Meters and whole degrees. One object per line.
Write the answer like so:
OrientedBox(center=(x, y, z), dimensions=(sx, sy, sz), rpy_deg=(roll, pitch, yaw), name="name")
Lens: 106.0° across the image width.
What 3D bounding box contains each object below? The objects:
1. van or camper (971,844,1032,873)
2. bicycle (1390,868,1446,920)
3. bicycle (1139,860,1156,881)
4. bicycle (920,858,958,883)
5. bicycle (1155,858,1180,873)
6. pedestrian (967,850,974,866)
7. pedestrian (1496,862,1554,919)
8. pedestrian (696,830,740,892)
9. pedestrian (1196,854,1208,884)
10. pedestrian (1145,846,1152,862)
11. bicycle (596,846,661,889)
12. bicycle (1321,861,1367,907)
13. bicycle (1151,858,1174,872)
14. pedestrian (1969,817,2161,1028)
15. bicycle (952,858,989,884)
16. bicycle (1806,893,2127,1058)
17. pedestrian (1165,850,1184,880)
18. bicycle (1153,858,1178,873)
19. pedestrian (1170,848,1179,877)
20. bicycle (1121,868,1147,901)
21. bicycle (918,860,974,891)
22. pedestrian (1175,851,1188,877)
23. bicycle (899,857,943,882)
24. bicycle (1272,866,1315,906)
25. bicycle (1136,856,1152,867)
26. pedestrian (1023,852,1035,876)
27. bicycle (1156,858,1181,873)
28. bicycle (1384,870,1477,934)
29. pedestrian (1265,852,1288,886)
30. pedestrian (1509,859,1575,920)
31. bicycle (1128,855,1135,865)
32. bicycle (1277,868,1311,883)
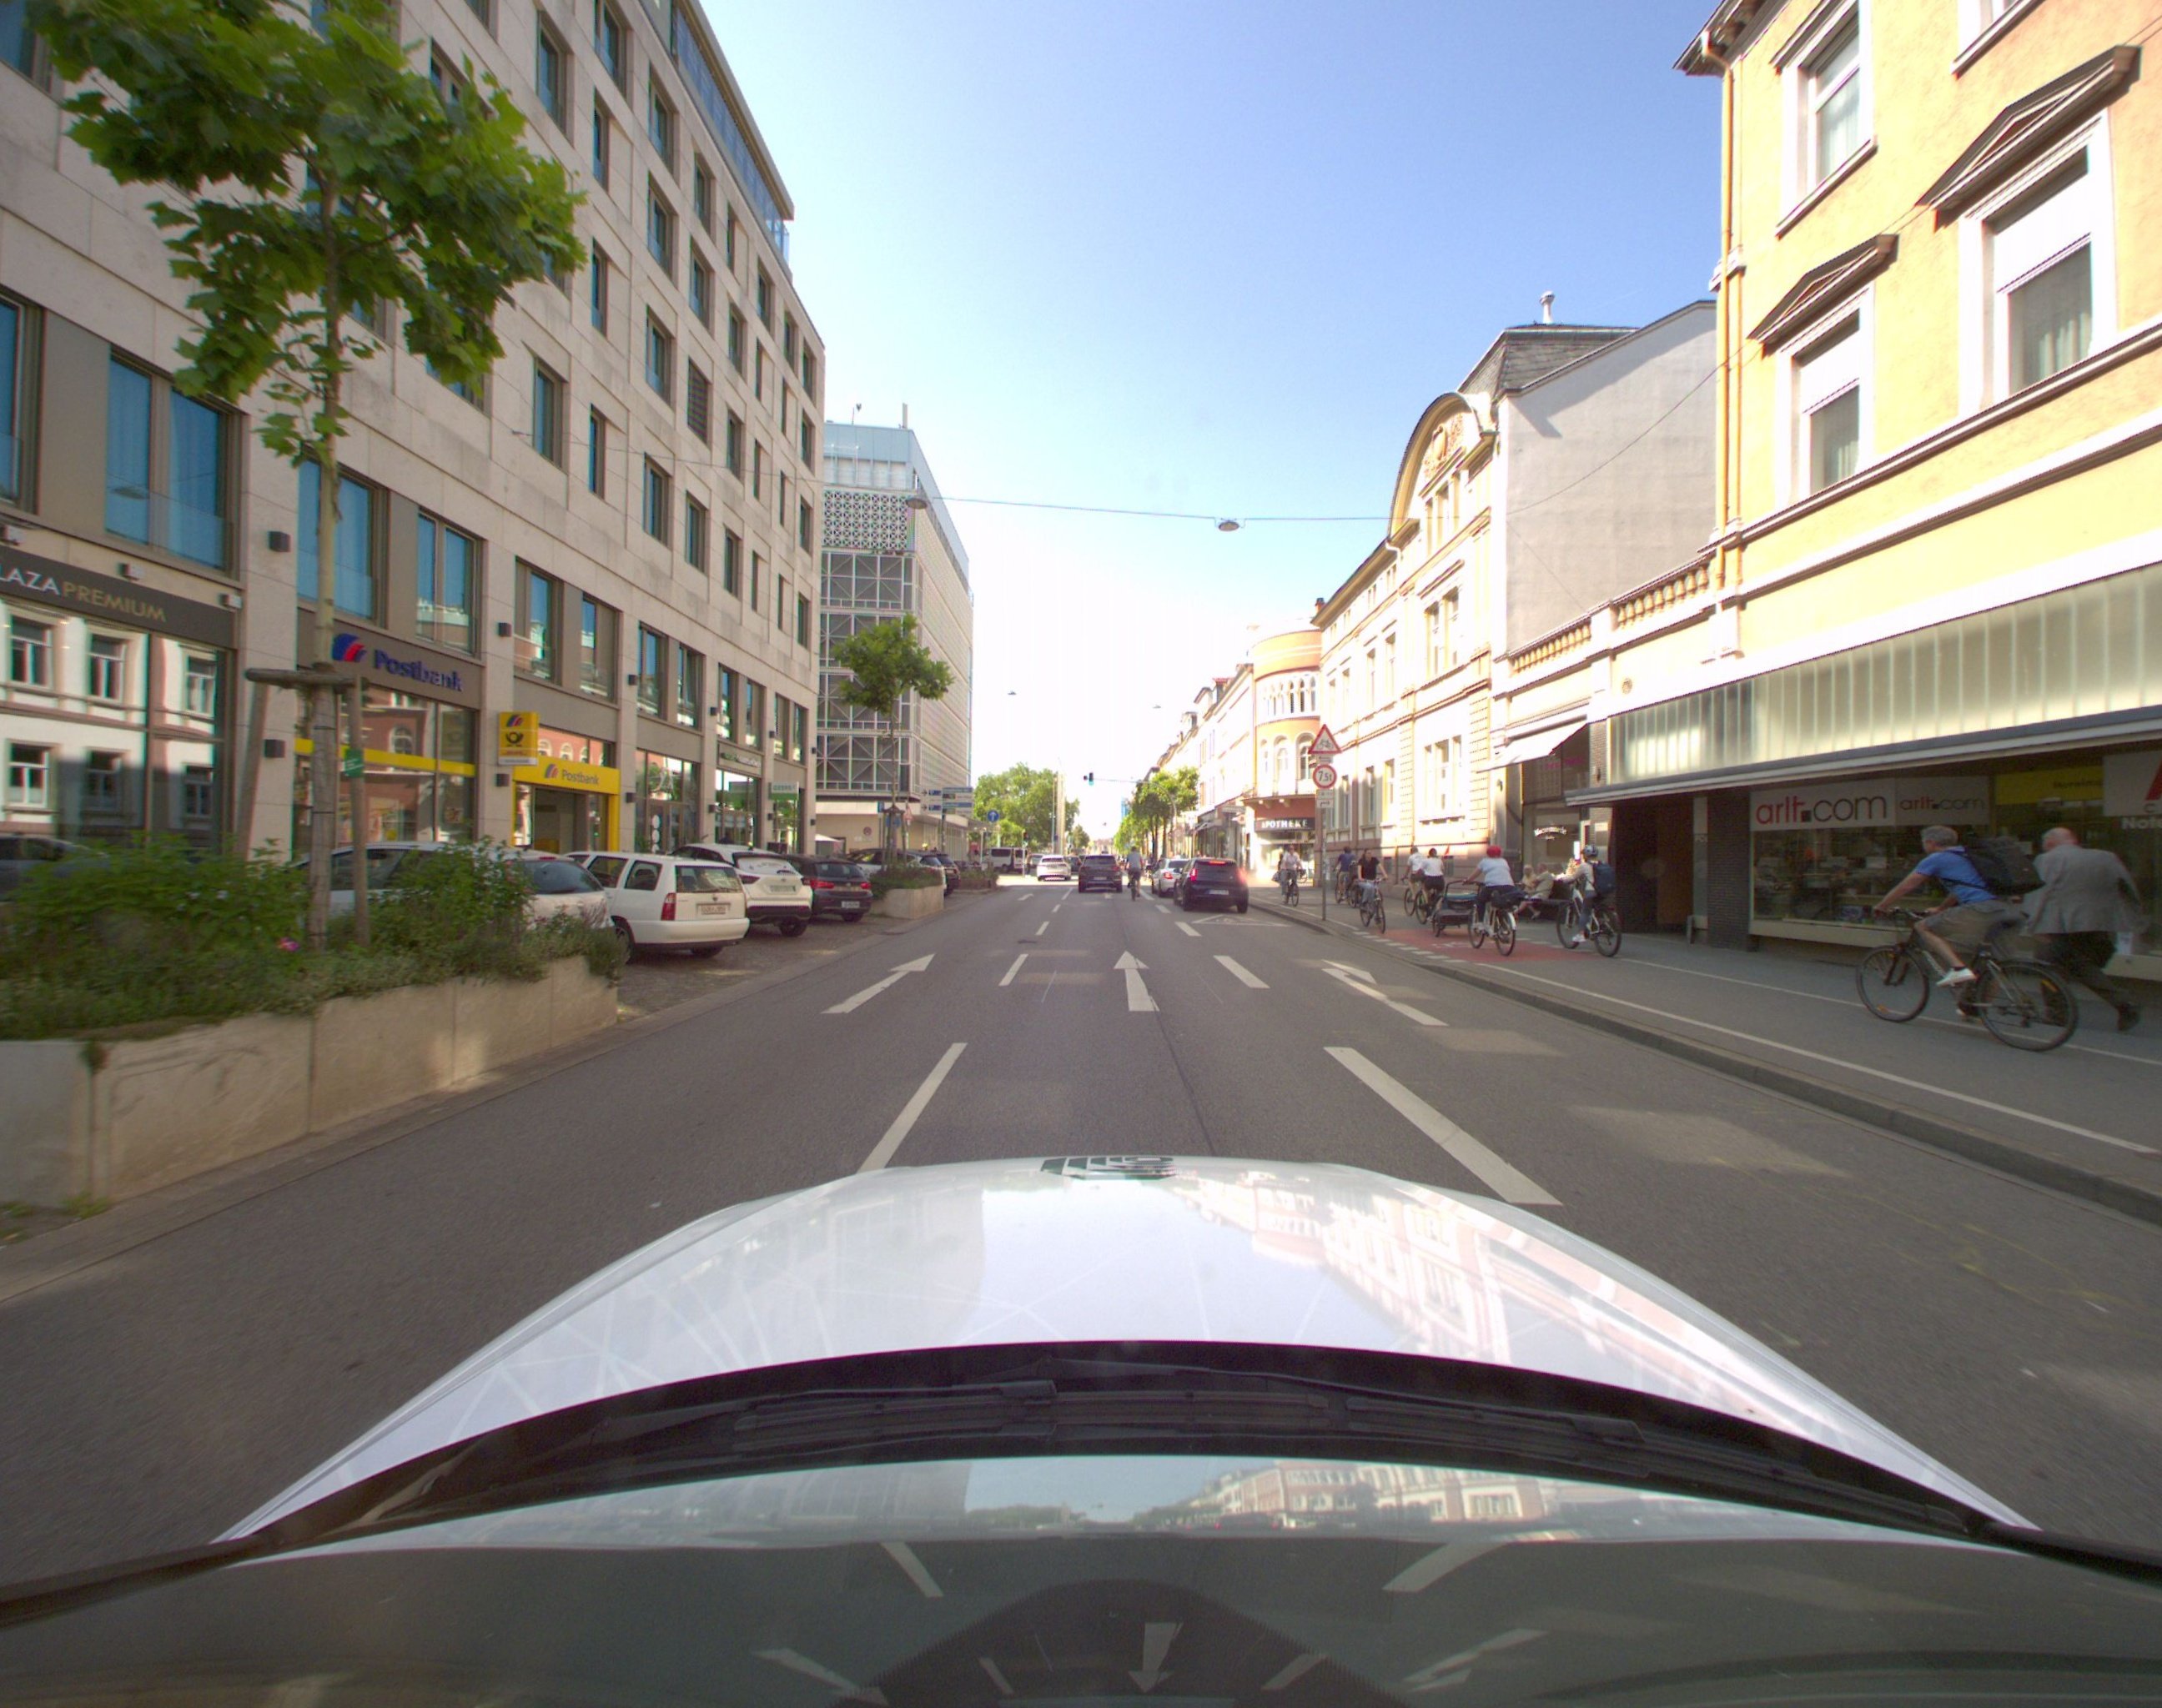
OrientedBox(center=(-6.115, 0.336, 62.358), dimensions=(4.602, 2.013, 2.012), rpy_deg=(2, 1, 41), name="van or camper")
OrientedBox(center=(8.142, 0.945, 19.776), dimensions=(0.569, 1.127, 2.079), rpy_deg=(-1, 1, 3), name="bicycle")
OrientedBox(center=(3.846, 0.951, 47.226), dimensions=(0.696, 1.127, 2.080), rpy_deg=(2, 0, -2), name="bicycle")
OrientedBox(center=(-6.882, 0.789, 39.521), dimensions=(2.038, 1.169, 0.609), rpy_deg=(-1, -1, 38), name="bicycle")
OrientedBox(center=(6.380, 0.851, 60.236), dimensions=(1.829, 1.127, 0.668), rpy_deg=(0, -1, 8), name="bicycle")
OrientedBox(center=(-10.808, 0.381, 79.506), dimensions=(0.677, 1.559, 0.640), rpy_deg=(0, 0, -4), name="pedestrian")
OrientedBox(center=(10.396, 0.849, 19.104), dimensions=(1.026, 1.316, 0.625), rpy_deg=(0, 0, 0), name="pedestrian")
OrientedBox(center=(-11.340, 0.217, 25.495), dimensions=(0.835, 1.879, 0.845), rpy_deg=(4, -1, 1), name="pedestrian")
OrientedBox(center=(7.566, 0.920, 50.856), dimensions=(0.634, 1.843, 0.617), rpy_deg=(2, -1, 13), name="pedestrian")
OrientedBox(center=(7.198, -0.036, 86.739), dimensions=(0.637, 1.689, 0.843), rpy_deg=(3, 0, -1), name="pedestrian")
OrientedBox(center=(-12.548, 0.350, 22.653), dimensions=(0.494, 1.107, 2.161), rpy_deg=(3, 0, 1), name="bicycle")
OrientedBox(center=(7.966, 0.889, 24.798), dimensions=(0.729, 1.268, 2.284), rpy_deg=(1, 1, 3), name="bicycle")
OrientedBox(center=(6.480, 0.899, 65.031), dimensions=(1.832, 1.127, 0.530), rpy_deg=(0, -2, 3), name="bicycle")
OrientedBox(center=(8.817, 0.585, 7.308), dimensions=(0.835, 1.791, 0.768), rpy_deg=(0, -1, 1), name="pedestrian")
OrientedBox(center=(-5.300, 0.806, 39.035), dimensions=(0.608, 1.173, 2.039), rpy_deg=(3, -1, -44), name="bicycle")
OrientedBox(center=(7.420, 0.947, 7.006), dimensions=(0.659, 1.118, 1.993), rpy_deg=(0, 0, 3), name="bicycle")
OrientedBox(center=(5.746, 0.659, 49.993), dimensions=(0.638, 1.708, 0.789), rpy_deg=(-13, -3, -4), name="pedestrian")
OrientedBox(center=(6.474, 0.875, 62.513), dimensions=(1.832, 1.127, 0.644), rpy_deg=(0, -1, 3), name="bicycle")
OrientedBox(center=(6.017, 0.538, 52.426), dimensions=(0.451, 1.795, 0.607), rpy_deg=(2, 0, -1), name="pedestrian")
OrientedBox(center=(1.751, 0.983, 27.102), dimensions=(0.771, 1.006, 2.330), rpy_deg=(0, 0, 2), name="bicycle")
OrientedBox(center=(-5.384, 0.853, 32.505), dimensions=(2.138, 1.127, 0.484), rpy_deg=(2, 1, -7), name="bicycle")
OrientedBox(center=(6.545, 0.665, 53.030), dimensions=(0.785, 1.690, 0.641), rpy_deg=(1, 0, -1), name="pedestrian")
OrientedBox(center=(-7.556, 0.735, 38.386), dimensions=(2.038, 1.127, 0.651), rpy_deg=(1, 0, 27), name="bicycle")
OrientedBox(center=(6.393, 0.943, 24.621), dimensions=(0.738, 1.127, 2.575), rpy_deg=(-1, -1, 3), name="bicycle")
OrientedBox(center=(7.439, 0.908, 96.668), dimensions=(1.830, 1.186, 0.671), rpy_deg=(2, -1, 6), name="bicycle")
OrientedBox(center=(-3.565, 0.689, 55.852), dimensions=(0.639, 1.559, 0.678), rpy_deg=(2, 0, -11), name="pedestrian")
OrientedBox(center=(6.578, 0.857, 60.937), dimensions=(1.832, 1.127, 0.667), rpy_deg=(0, -1, 3), name="bicycle")
OrientedBox(center=(7.391, 0.969, 17.444), dimensions=(0.745, 1.127, 3.243), rpy_deg=(-1, 1, 3), name="bicycle")
OrientedBox(center=(9.692, 0.758, 40.362), dimensions=(0.896, 1.612, 0.977), rpy_deg=(-2, -3, 4), name="pedestrian")
OrientedBox(center=(10.423, 0.797, 18.428), dimensions=(1.082, 1.316, 0.625), rpy_deg=(-2, 0, 0), name="pedestrian")
OrientedBox(center=(5.452, 0.660, 87.455), dimensions=(0.645, 0.998, 2.031), rpy_deg=(1, 0, 1), name="bicycle")
OrientedBox(center=(12.107, 1.197, 46.317), dimensions=(1.814, 0.844, 0.501), rpy_deg=(0, 0, 2), name="bicycle")
